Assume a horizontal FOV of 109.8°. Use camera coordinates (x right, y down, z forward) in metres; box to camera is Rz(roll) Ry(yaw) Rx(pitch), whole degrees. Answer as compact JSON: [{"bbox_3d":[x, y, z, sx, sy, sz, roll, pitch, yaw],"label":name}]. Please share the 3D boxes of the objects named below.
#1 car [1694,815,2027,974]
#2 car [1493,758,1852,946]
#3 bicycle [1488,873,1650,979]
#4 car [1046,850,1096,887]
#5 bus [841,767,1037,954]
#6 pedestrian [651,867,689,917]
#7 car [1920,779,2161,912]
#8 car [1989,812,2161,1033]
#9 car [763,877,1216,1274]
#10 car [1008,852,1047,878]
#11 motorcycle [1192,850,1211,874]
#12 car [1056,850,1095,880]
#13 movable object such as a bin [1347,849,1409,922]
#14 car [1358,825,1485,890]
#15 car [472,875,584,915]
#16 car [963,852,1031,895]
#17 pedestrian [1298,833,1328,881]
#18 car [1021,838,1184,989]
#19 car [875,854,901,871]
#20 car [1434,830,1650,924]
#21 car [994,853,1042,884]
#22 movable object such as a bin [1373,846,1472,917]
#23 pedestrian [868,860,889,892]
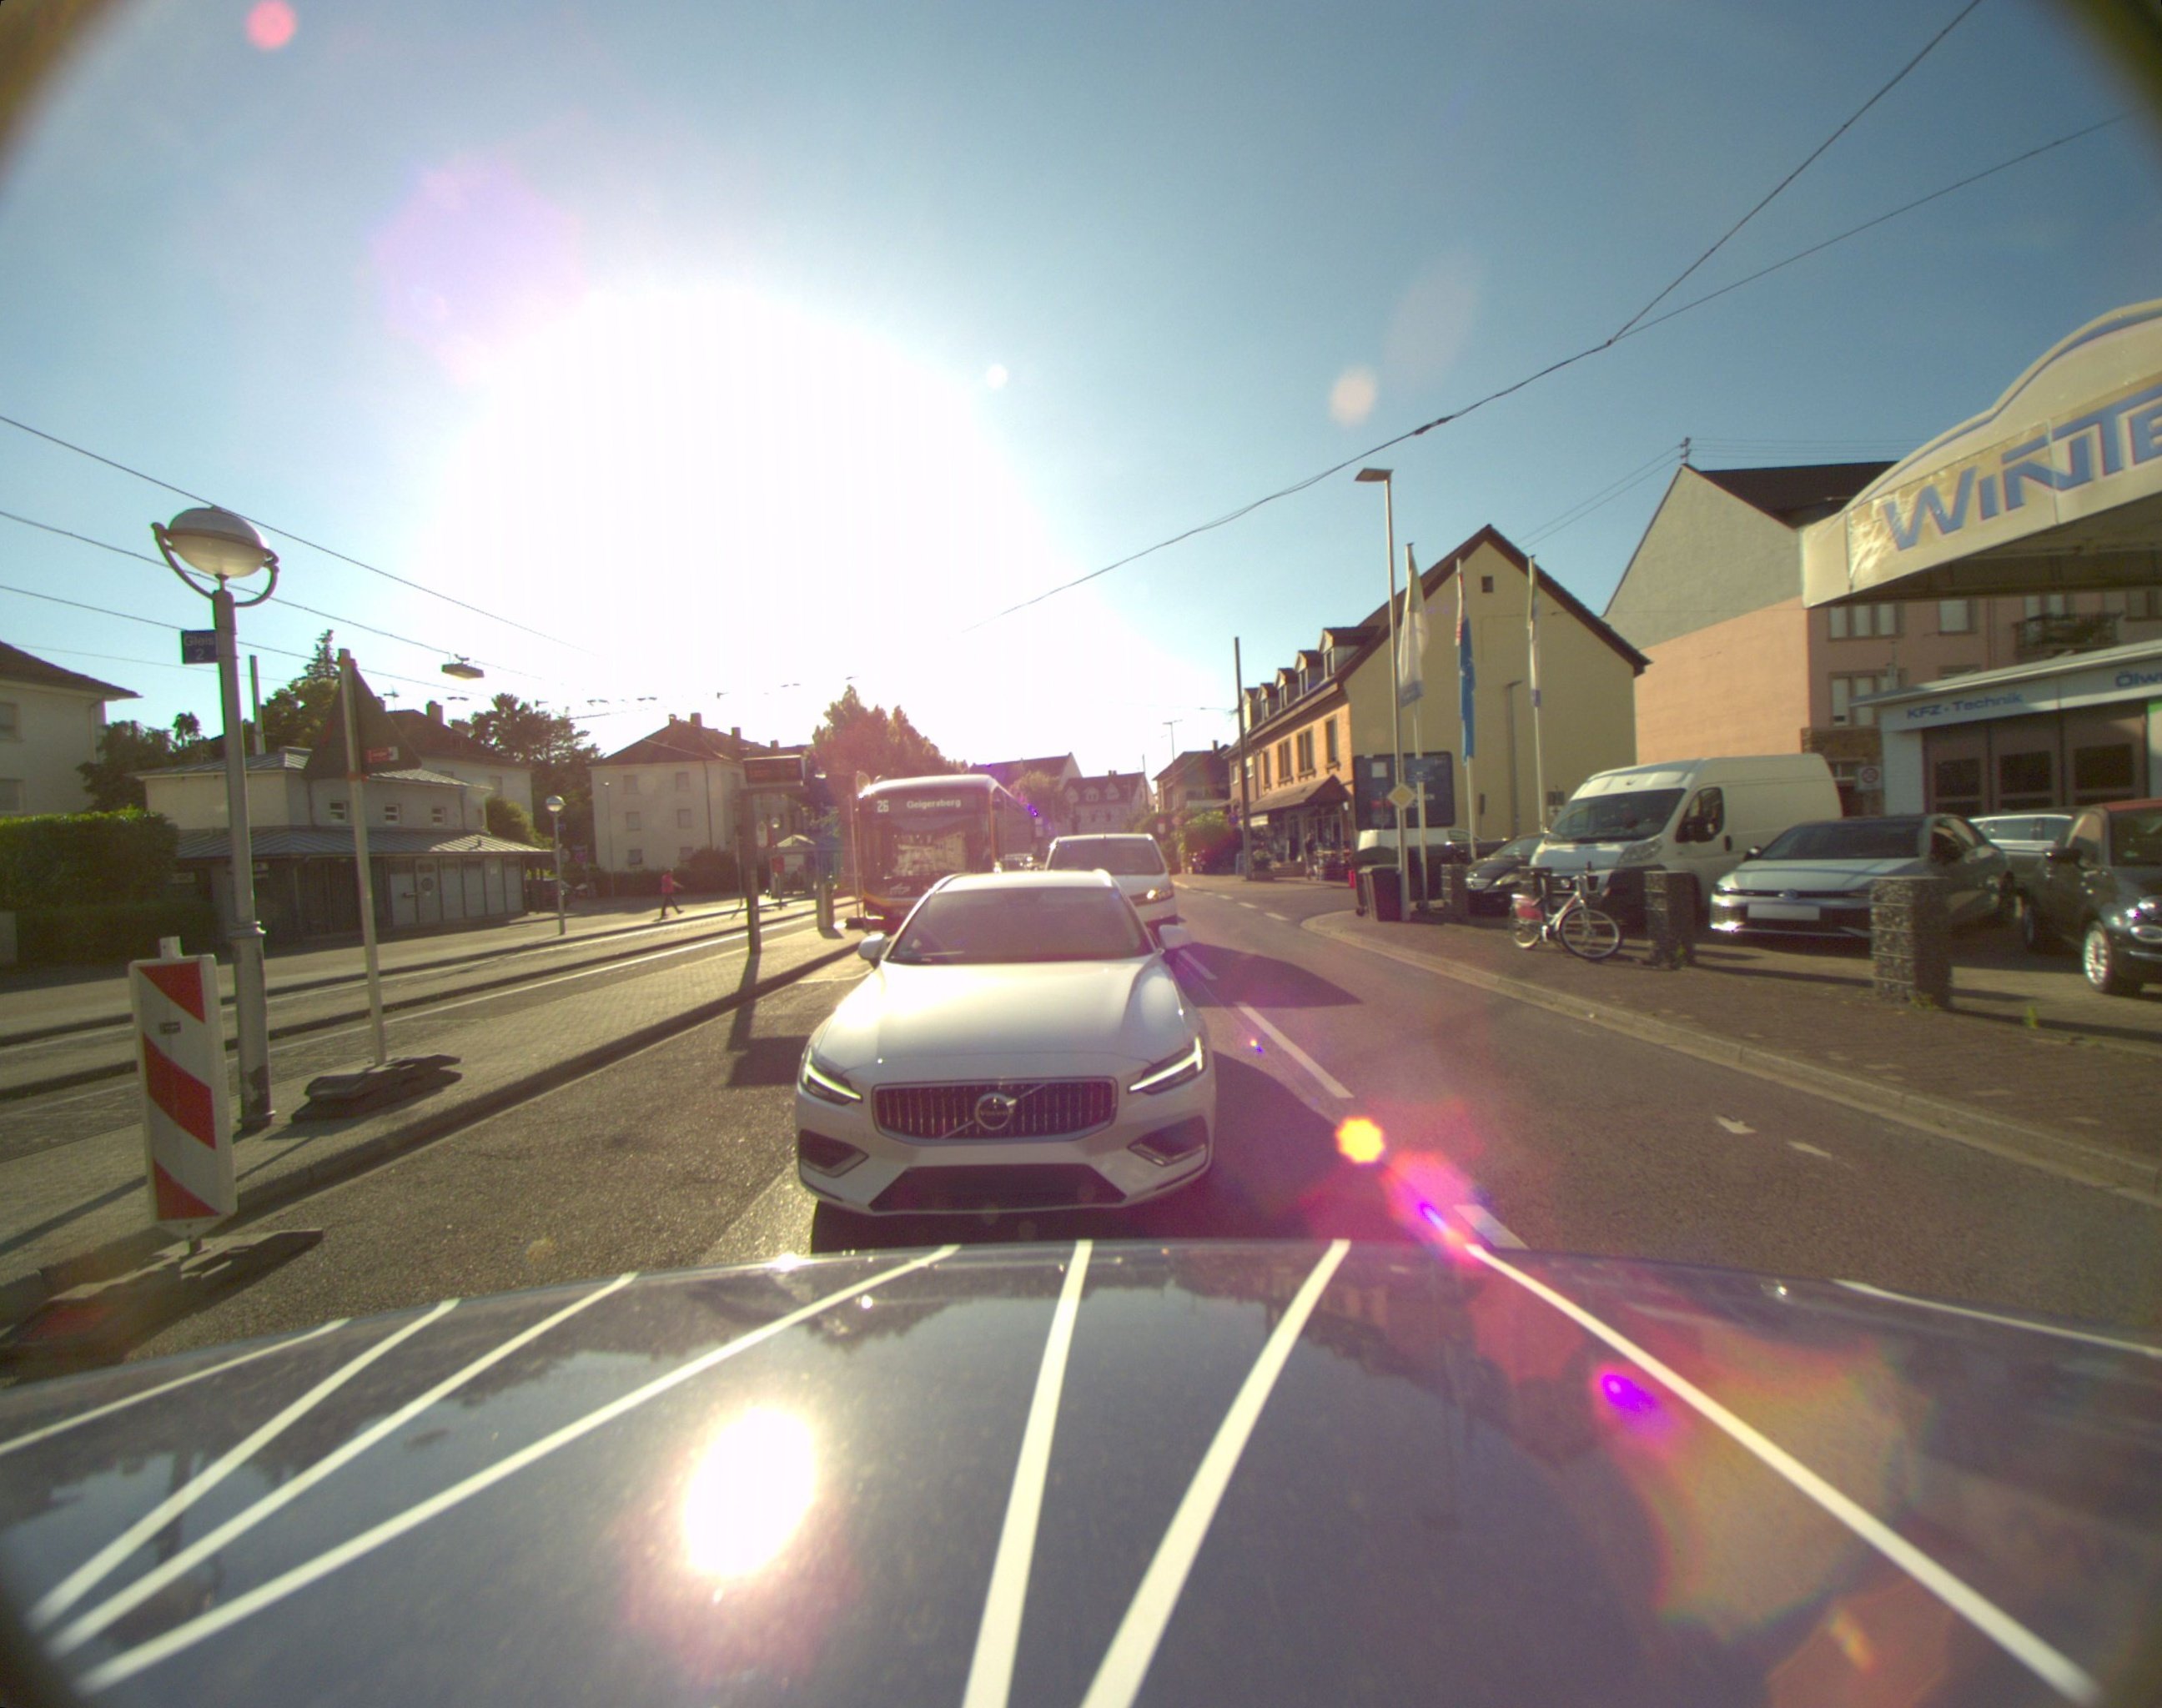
[{"bbox_3d":[9.493,0.363,9.210,4.036,1.488,1.739,-3,1,-28],"label":"car"},{"bbox_3d":[9.147,-0.131,11.759,4.997,2.440,2.111,-3,1,-22],"label":"car"},{"bbox_3d":[5.885,0.818,9.312,0.725,1.080,1.791,-3,1,-3],"label":"bicycle"},{"bbox_3d":[-0.388,0.584,33.260,1.969,1.450,4.824,-2,0,1],"label":"car"},{"bbox_3d":[-2.915,0.097,19.832,2.748,3.284,12.030,-2,0,0],"label":"bus"},{"bbox_3d":[-14.792,1.365,27.364,0.842,1.708,0.825,-2,1,2],"label":"pedestrian"},{"bbox_3d":[16.484,-0.168,11.987,1.742,1.933,4.257,-3,1,-1],"label":"car"},{"bbox_3d":[9.079,0.416,6.164,1.590,1.488,3.442,-2,1,40],"label":"car"},{"bbox_3d":[-0.350,0.985,5.255,1.821,1.446,4.217,-2,0,1],"label":"car"},{"bbox_3d":[-3.267,0.632,47.303,1.969,1.450,4.824,-2,0,1],"label":"car"},{"bbox_3d":[6.357,0.419,40.119,0.708,1.210,2.186,-2,1,3],"label":"motorcycle"},{"bbox_3d":[-0.248,0.568,41.507,1.969,1.450,4.824,-2,0,1],"label":"car"},{"bbox_3d":[6.239,0.645,15.949,1.045,1.456,0.797,-2,1,32],"label":"movable object such as a bin"},{"bbox_3d":[11.569,0.101,25.921,3.672,2.002,1.451,-2,1,-3],"label":"car"},{"bbox_3d":[-27.684,2.045,38.139,4.052,1.663,2.000,-4,1,2],"label":"car"},{"bbox_3d":[-3.148,0.707,29.499,1.969,1.450,4.824,-2,0,1],"label":"car"},{"bbox_3d":[9.110,0.121,29.881,0.821,1.842,0.768,-1,2,43],"label":"pedestrian"},{"bbox_3d":[0.306,0.736,12.009,1.969,1.816,5.033,-2,0,1],"label":"car"},{"bbox_3d":[-23.256,1.014,91.772,1.998,1.853,3.999,-2,1,1],"label":"car"},{"bbox_3d":[8.971,0.377,14.746,4.036,1.469,1.739,-3,1,-28],"label":"car"},{"bbox_3d":[-3.225,0.706,39.888,1.969,1.450,4.824,-2,0,1],"label":"car"},{"bbox_3d":[7.597,0.582,16.913,1.798,1.456,1.046,-3,1,-25],"label":"movable object such as a bin"},{"bbox_3d":[-10.530,1.117,39.526,0.826,1.601,0.840,-3,1,-30],"label":"pedestrian"}]
